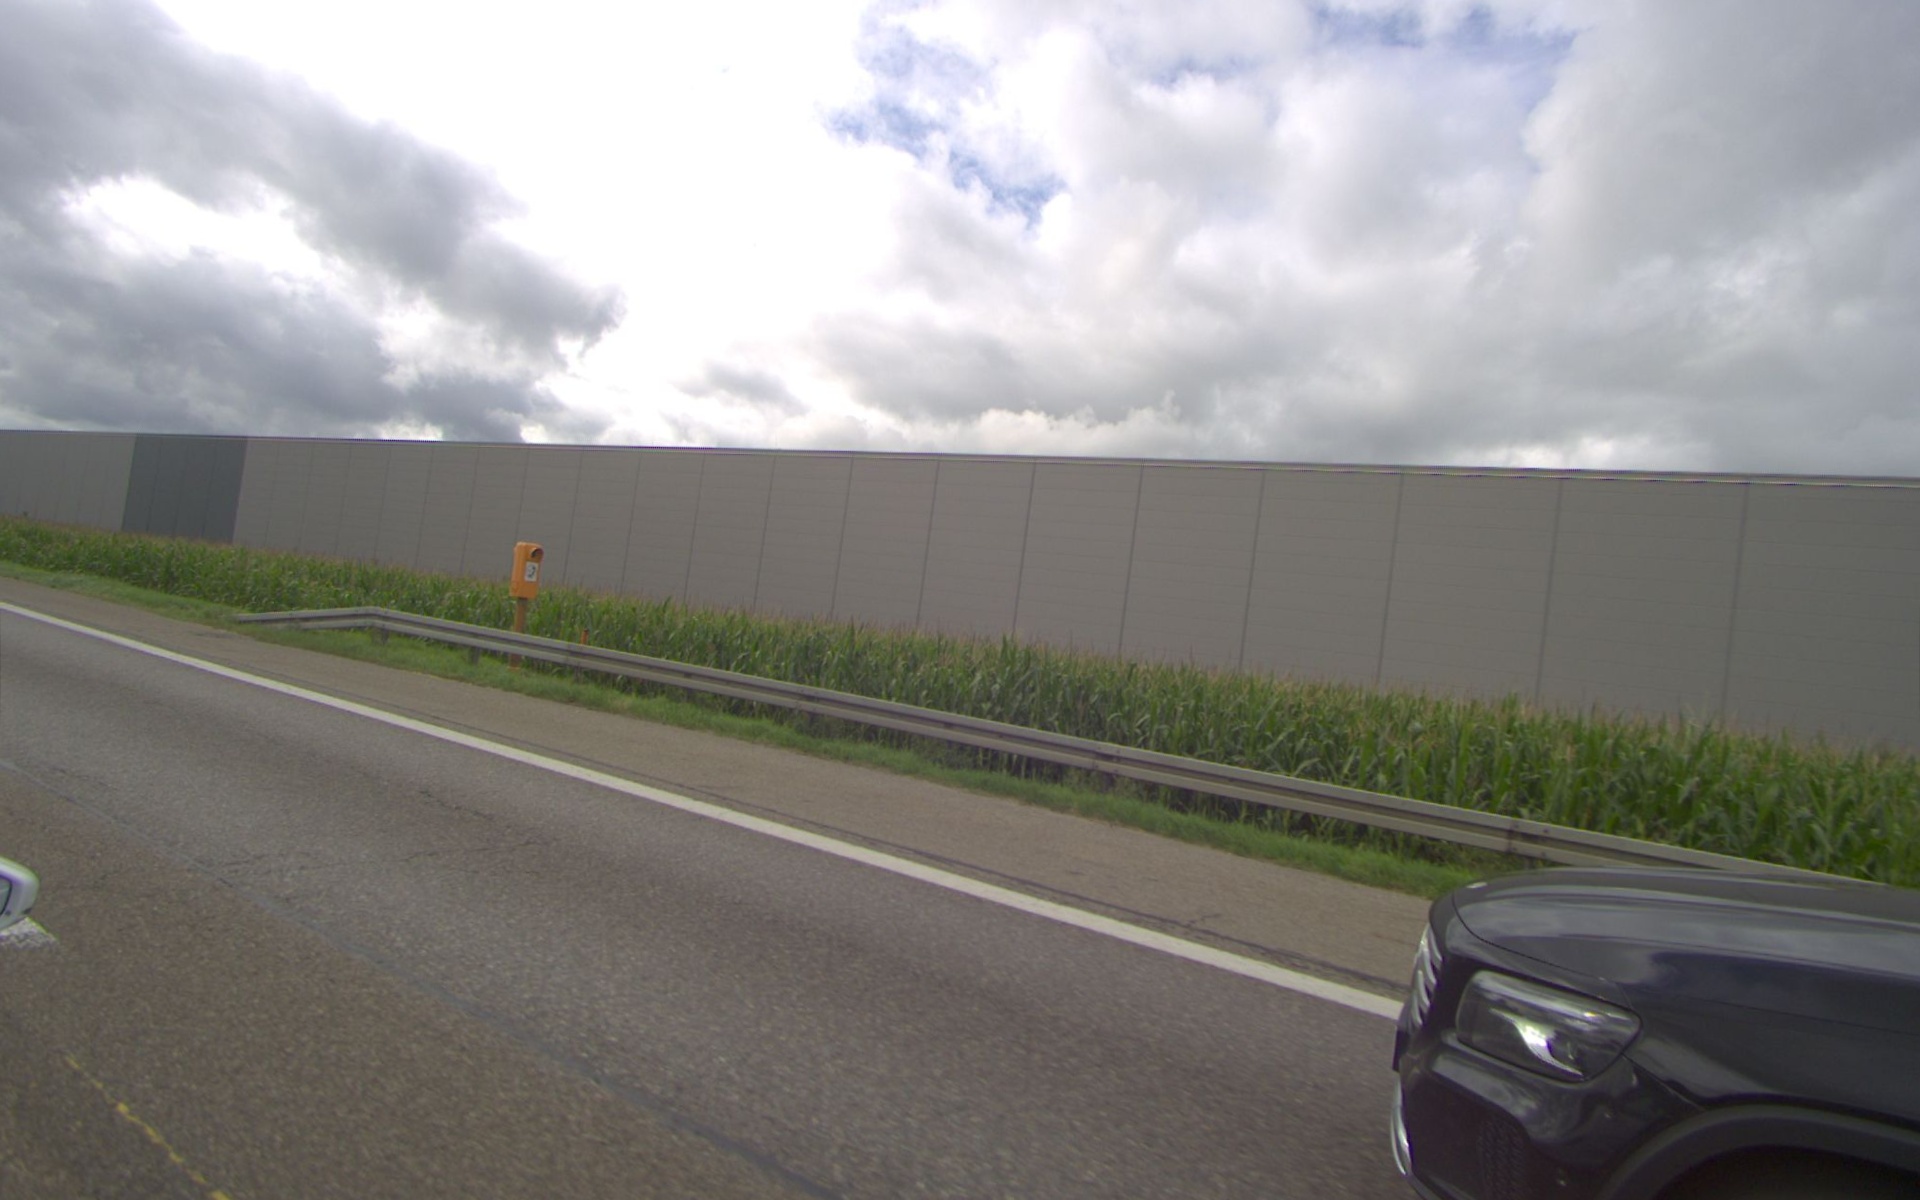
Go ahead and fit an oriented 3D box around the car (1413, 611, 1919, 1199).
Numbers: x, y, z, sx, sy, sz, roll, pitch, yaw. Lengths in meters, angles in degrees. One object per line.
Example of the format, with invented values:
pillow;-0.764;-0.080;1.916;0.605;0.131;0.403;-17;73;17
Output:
car;3.274;1.108;1.749;4.288;1.628;1.836;6;-1;32
